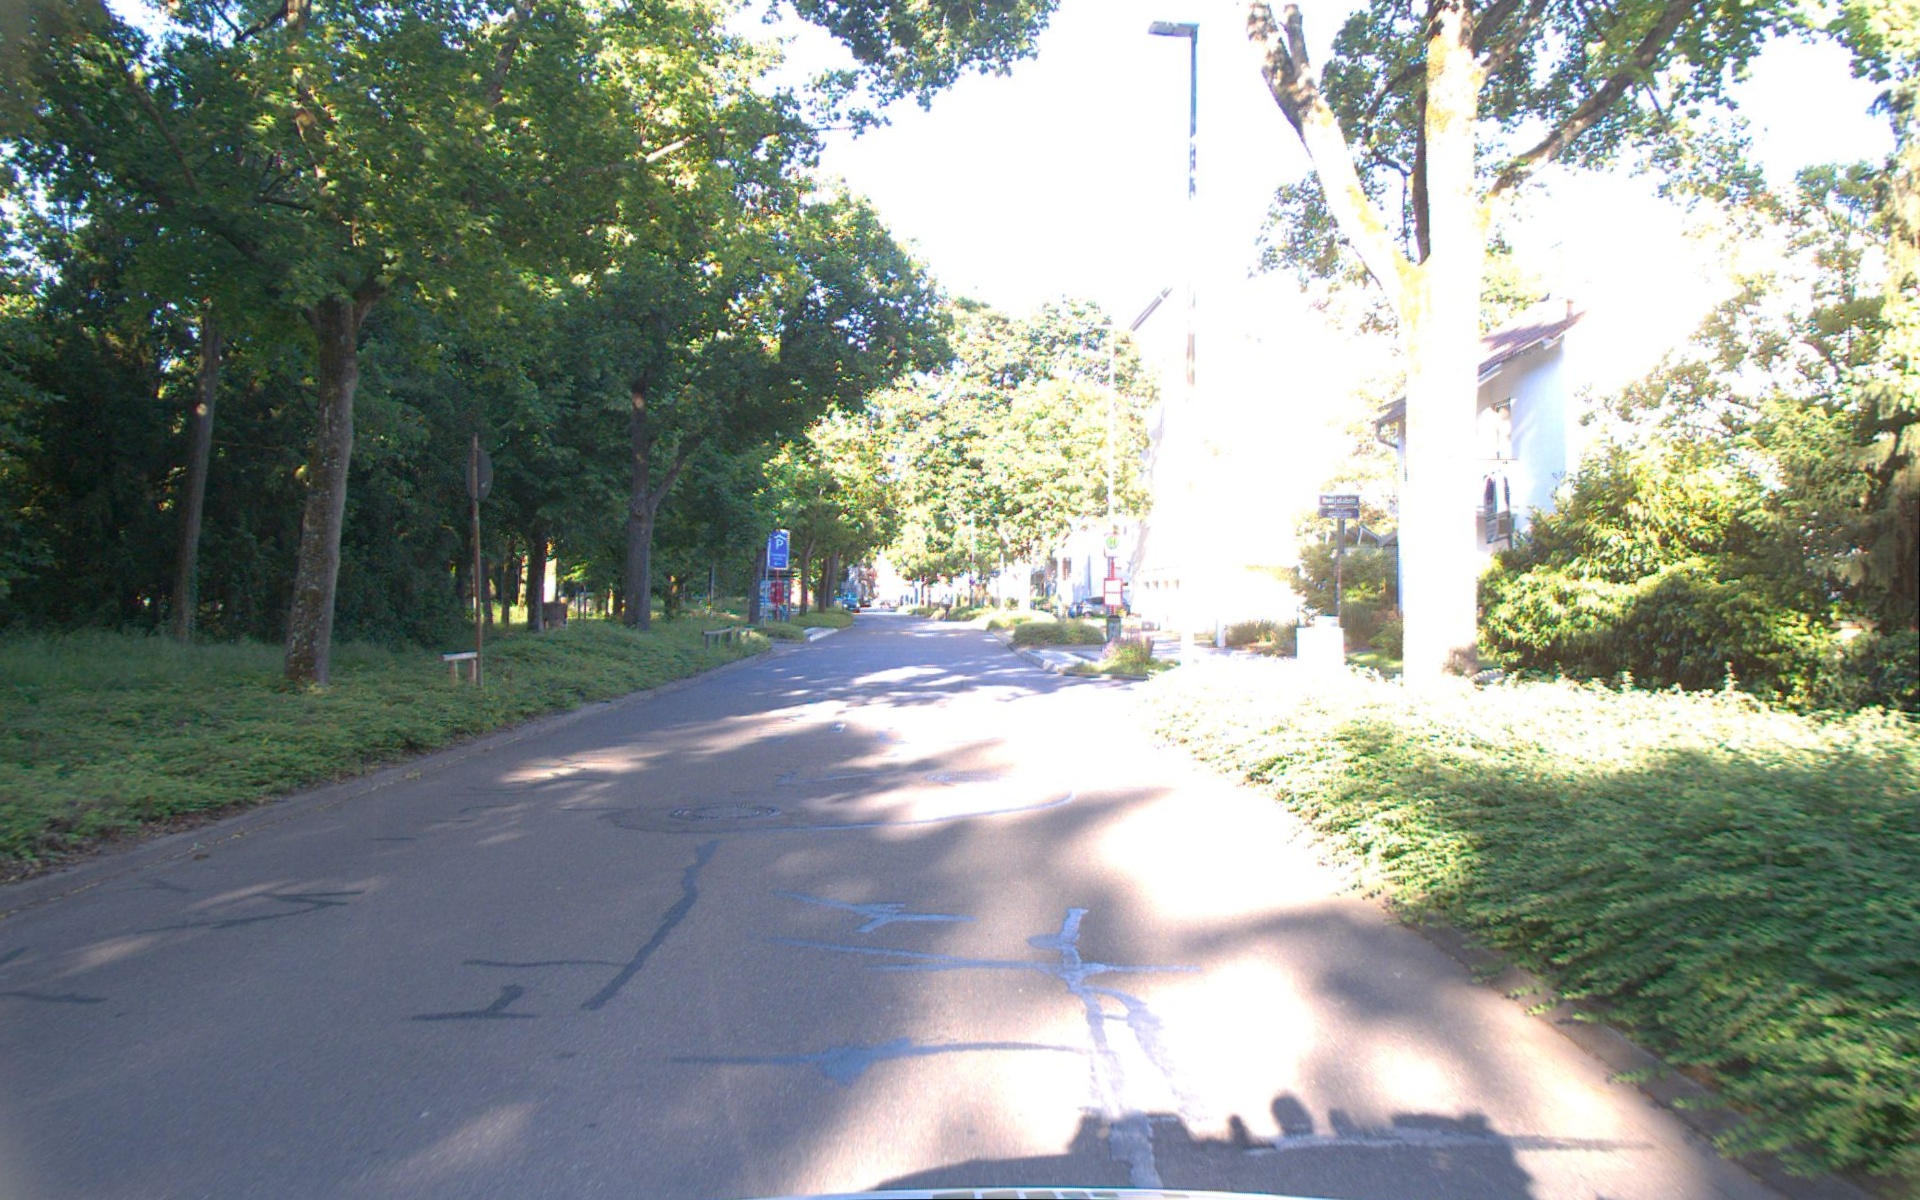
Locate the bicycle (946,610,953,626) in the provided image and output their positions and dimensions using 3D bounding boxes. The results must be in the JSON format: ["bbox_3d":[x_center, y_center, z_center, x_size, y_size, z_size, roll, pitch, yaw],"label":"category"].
[{"bbox_3d":[-0.669,1.149,108.339,0.430,0.995,1.661,0,1,-1],"label":"bicycle"}]

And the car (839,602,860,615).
[{"bbox_3d":[-12.397,1.004,185.693,1.957,1.378,3.532,1,0,-10],"label":"car"}]

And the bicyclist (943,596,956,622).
[{"bbox_3d":[-0.700,0.579,108.363,0.849,1.669,1.114,1,1,-1],"label":"bicyclist"}]

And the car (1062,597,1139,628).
[{"bbox_3d":[8.030,0.697,94.371,4.259,1.377,2.145,4,4,5],"label":"car"}]

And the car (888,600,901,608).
[{"bbox_3d":[-9.242,0.575,233.212,1.802,1.008,3.817,1,0,-2],"label":"car"}]
